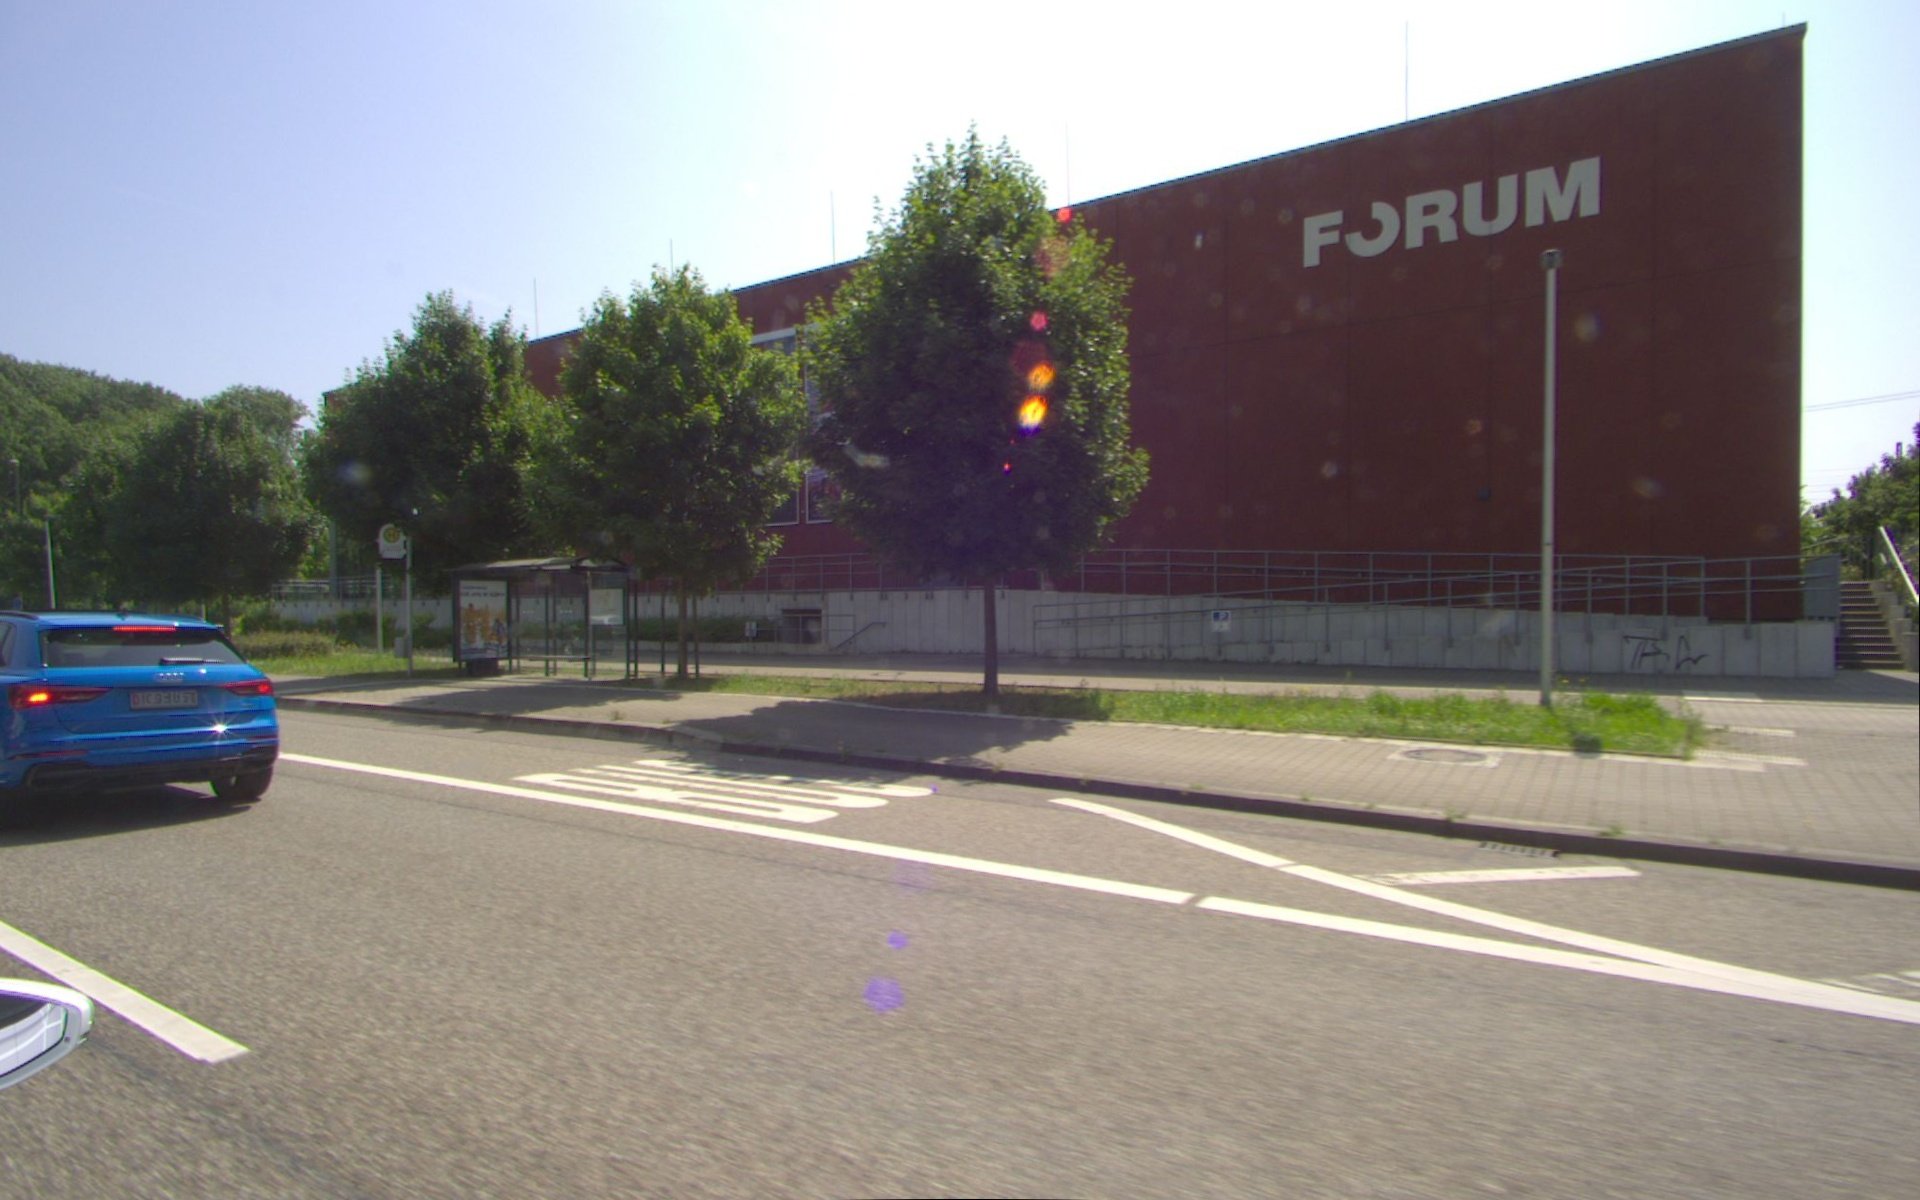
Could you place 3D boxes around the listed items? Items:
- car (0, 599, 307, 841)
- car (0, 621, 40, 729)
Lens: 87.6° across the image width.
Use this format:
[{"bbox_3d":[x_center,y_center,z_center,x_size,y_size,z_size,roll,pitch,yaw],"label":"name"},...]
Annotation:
[{"bbox_3d":[-7.678,0.829,8.638,4.337,1.616,1.834,0,-1,33],"label":"car"},{"bbox_3d":[-14.224,0.960,13.456,4.032,1.379,1.709,-1,-2,32],"label":"car"}]
